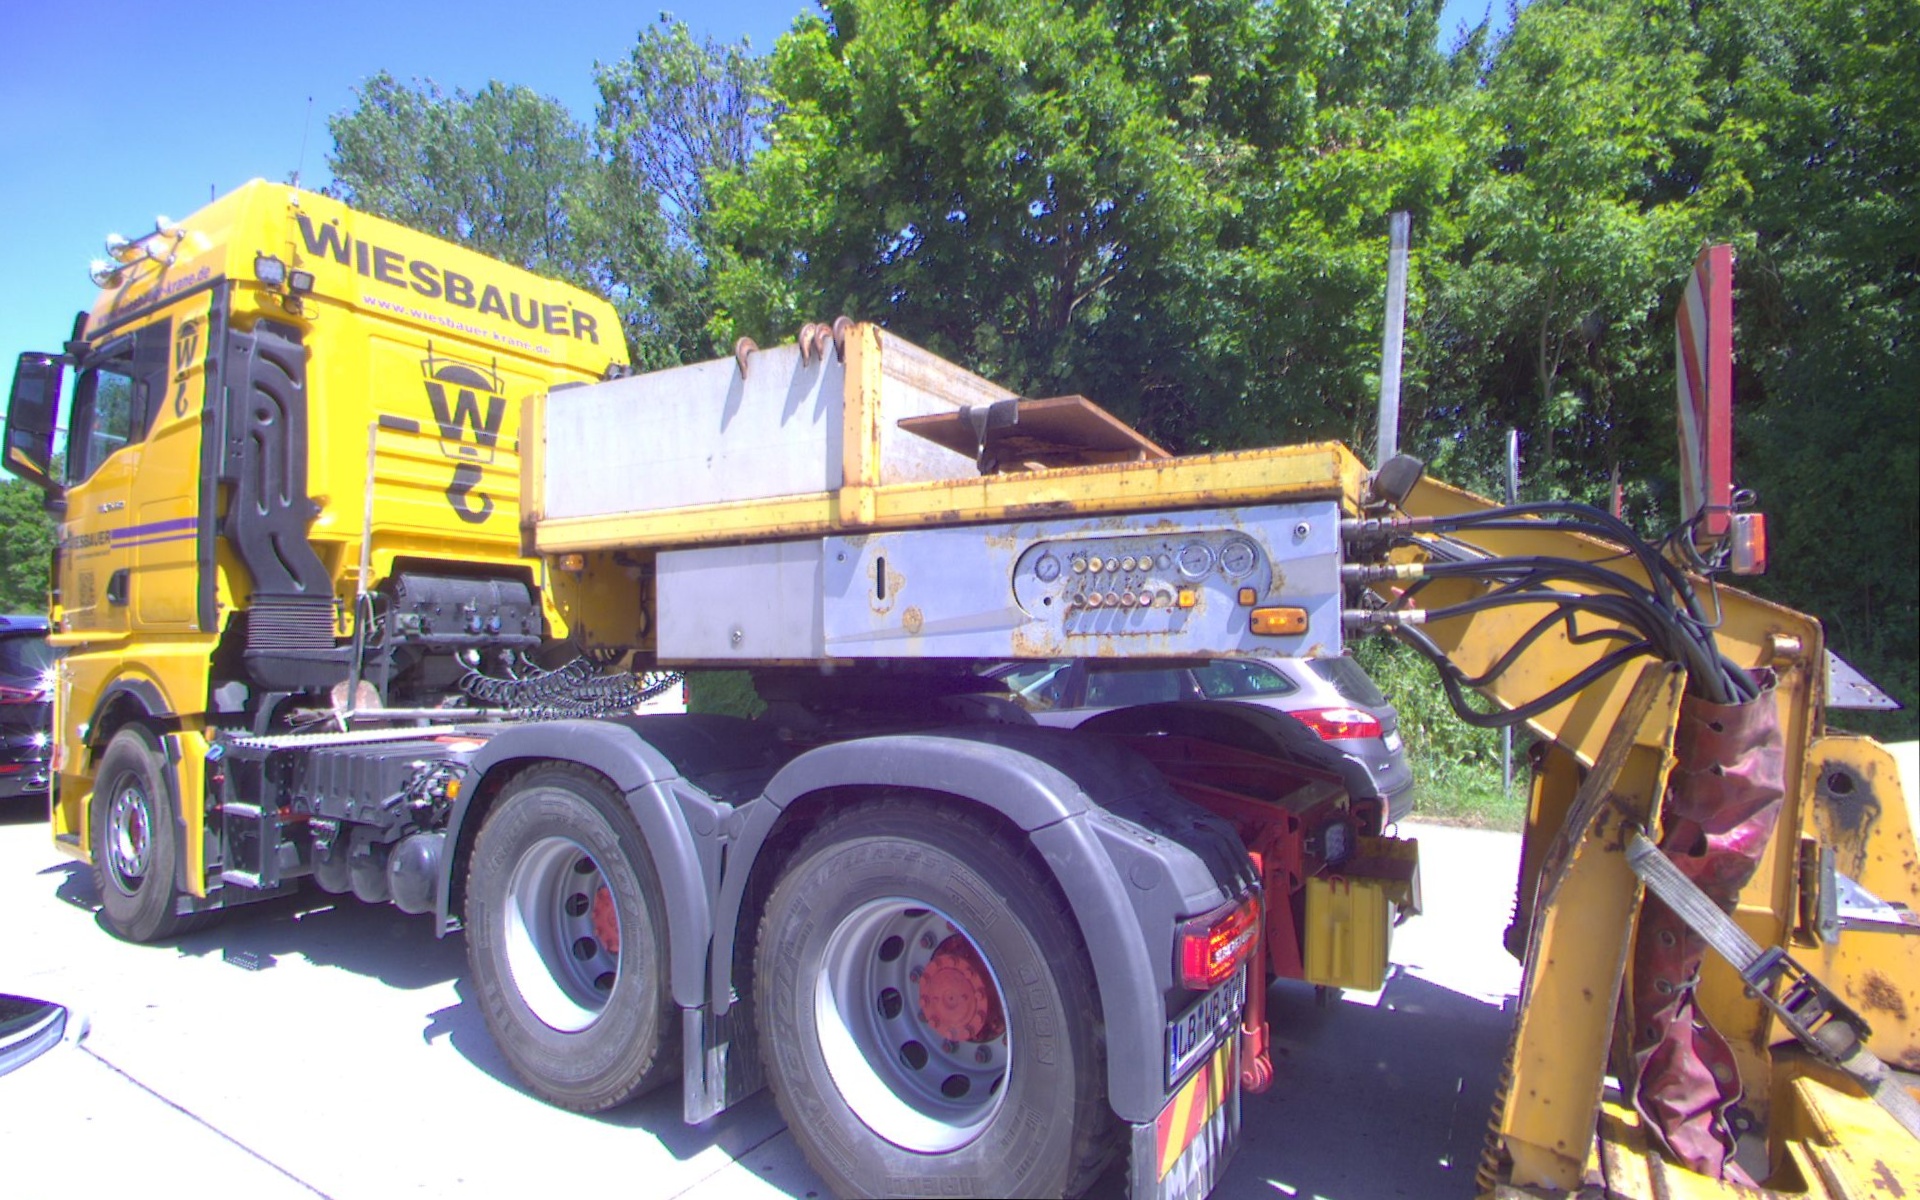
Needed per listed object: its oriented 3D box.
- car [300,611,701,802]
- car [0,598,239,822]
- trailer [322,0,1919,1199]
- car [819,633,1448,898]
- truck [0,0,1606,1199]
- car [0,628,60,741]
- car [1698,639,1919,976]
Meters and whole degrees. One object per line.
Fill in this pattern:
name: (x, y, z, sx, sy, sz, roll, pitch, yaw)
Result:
car: (-5.369, 1.093, 11.536, 4.720, 1.830, 1.766, -1, -2, 29)
car: (-8.652, 0.886, 9.267, 4.584, 1.660, 1.779, -1, -2, 35)
trailer: (5.430, 0.198, 0.626, 16.117, 2.626, 3.023, -1, -2, 31)
car: (1.182, 0.994, 7.476, 4.300, 1.481, 1.765, -1, -2, 31)
truck: (-1.386, -0.332, 4.778, 7.361, 3.821, 3.009, -1, -2, 31)
car: (-14.187, 1.111, 13.743, 4.548, 1.428, 1.763, -2, -2, 35)
car: (6.144, 0.922, 4.354, 4.530, 1.481, 1.766, -1, -2, 30)
